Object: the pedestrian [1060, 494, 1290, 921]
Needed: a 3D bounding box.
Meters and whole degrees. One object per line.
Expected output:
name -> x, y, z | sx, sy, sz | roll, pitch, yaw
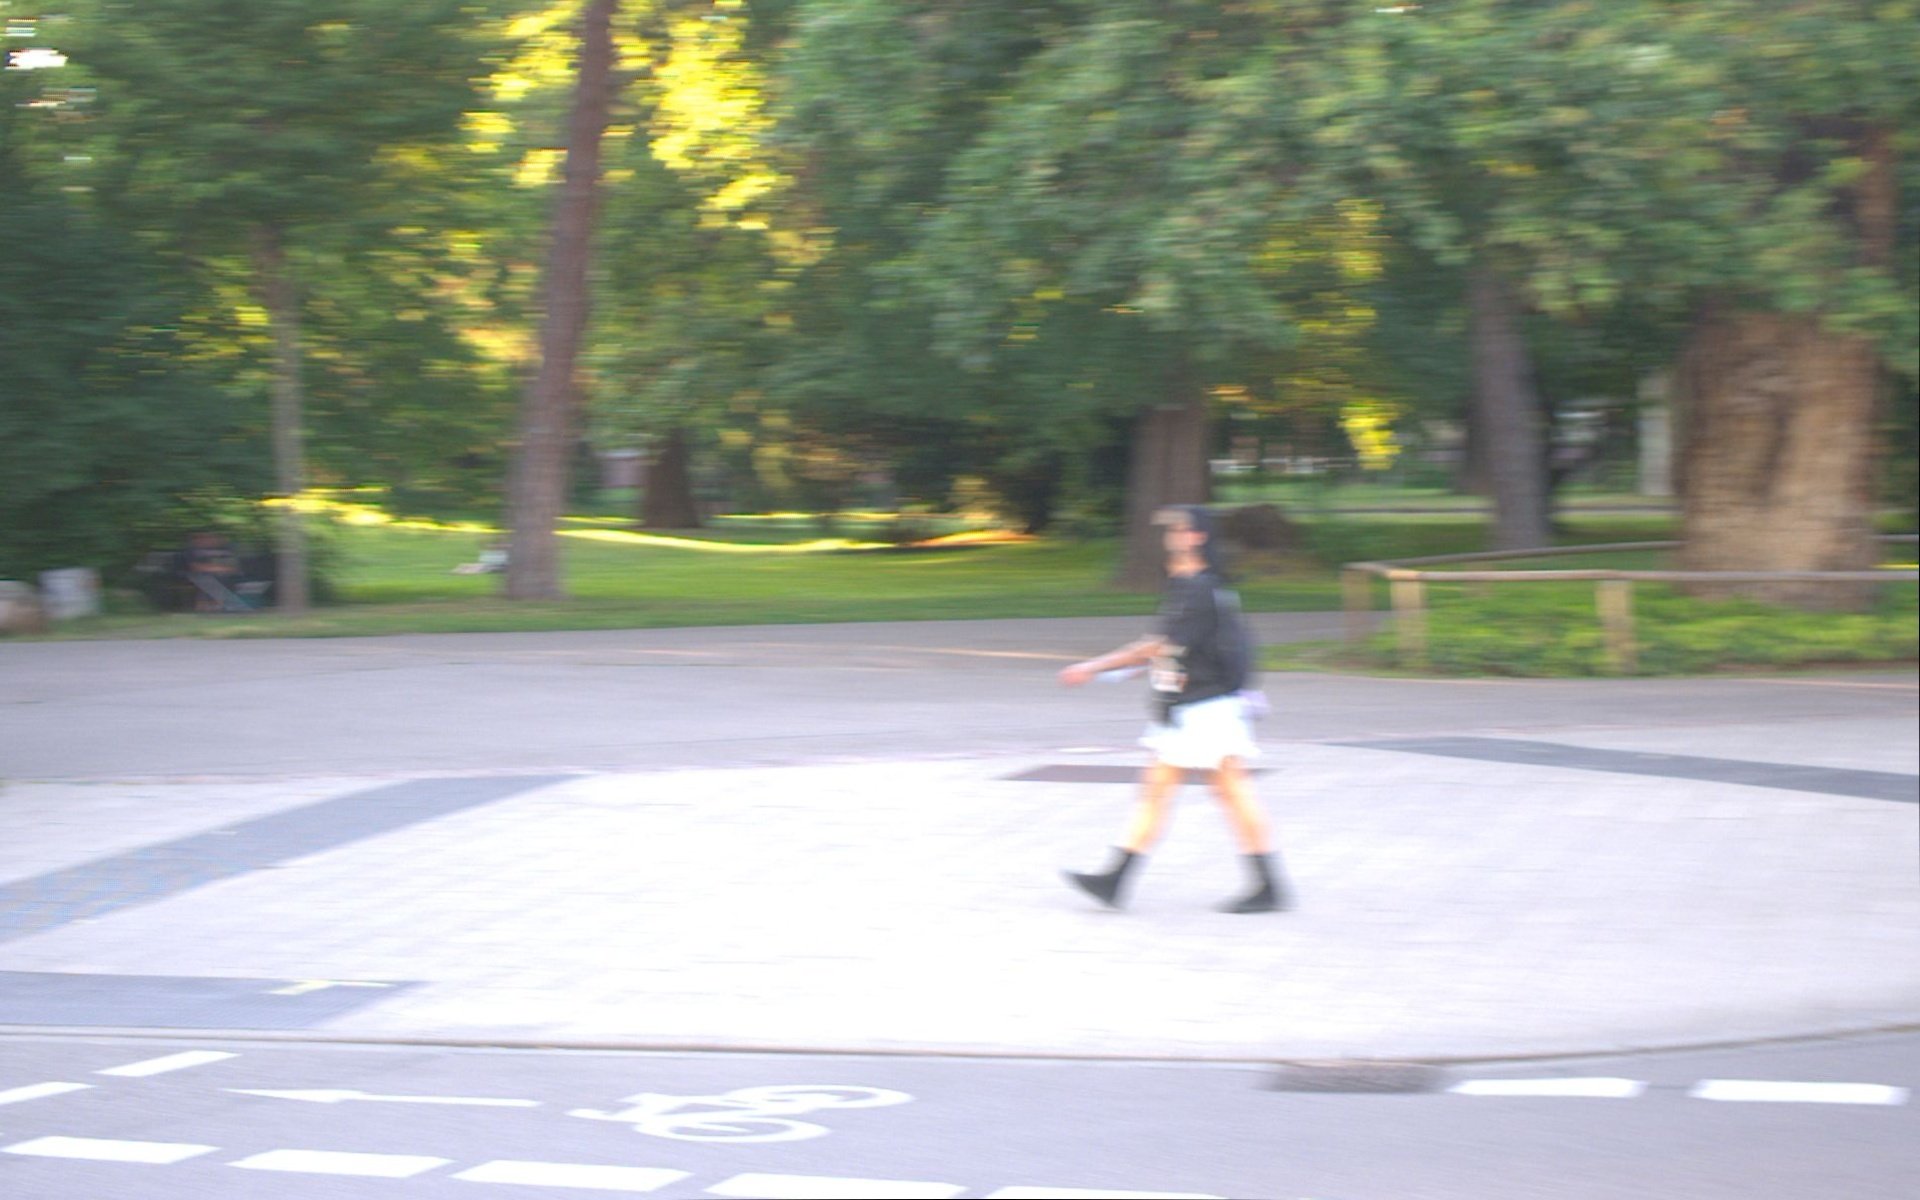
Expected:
pedestrian -> 0.799, 0.380, 12.702 | 0.618, 1.498, 0.580 | 0, 5, 28
